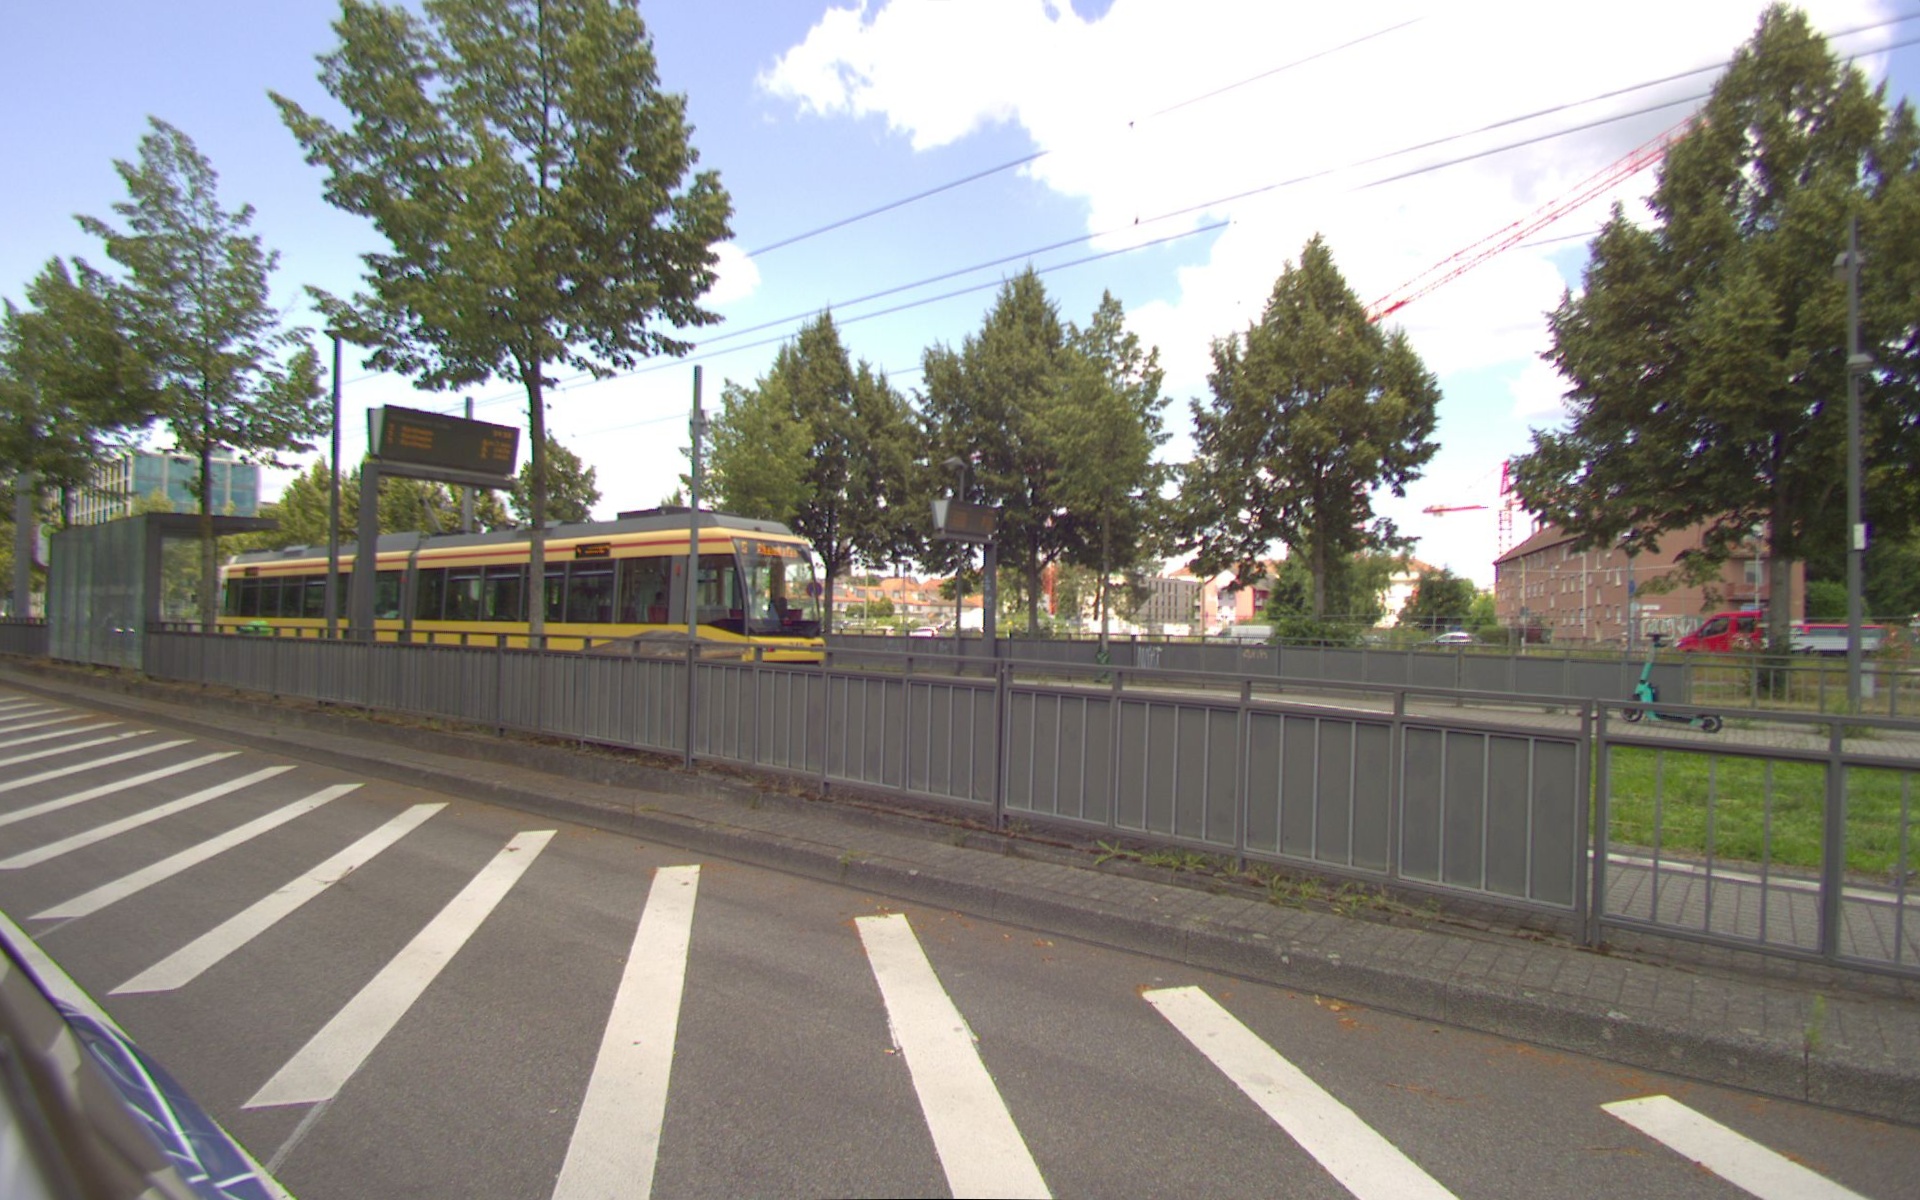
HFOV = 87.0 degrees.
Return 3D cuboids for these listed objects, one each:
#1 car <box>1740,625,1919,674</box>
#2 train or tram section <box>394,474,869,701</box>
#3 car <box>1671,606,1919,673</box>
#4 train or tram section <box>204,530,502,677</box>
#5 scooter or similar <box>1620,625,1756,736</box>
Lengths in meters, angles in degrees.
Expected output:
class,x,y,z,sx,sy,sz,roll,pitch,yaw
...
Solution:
class,x,y,z,sx,sy,sz,roll,pitch,yaw
car,35.632,1.979,41.653,2.052,1.866,5.199,1,-2,-33
train or tram section,-7.867,-0.062,22.079,13.457,3.768,2.815,-1,-2,38
car,30.450,1.421,37.047,2.353,2.214,6.859,1,-2,-28
train or tram section,-18.950,0.243,30.780,14.643,3.666,2.661,-1,-2,38
scooter or similar,9.414,1.003,13.129,0.412,1.312,1.350,1,0,-31
